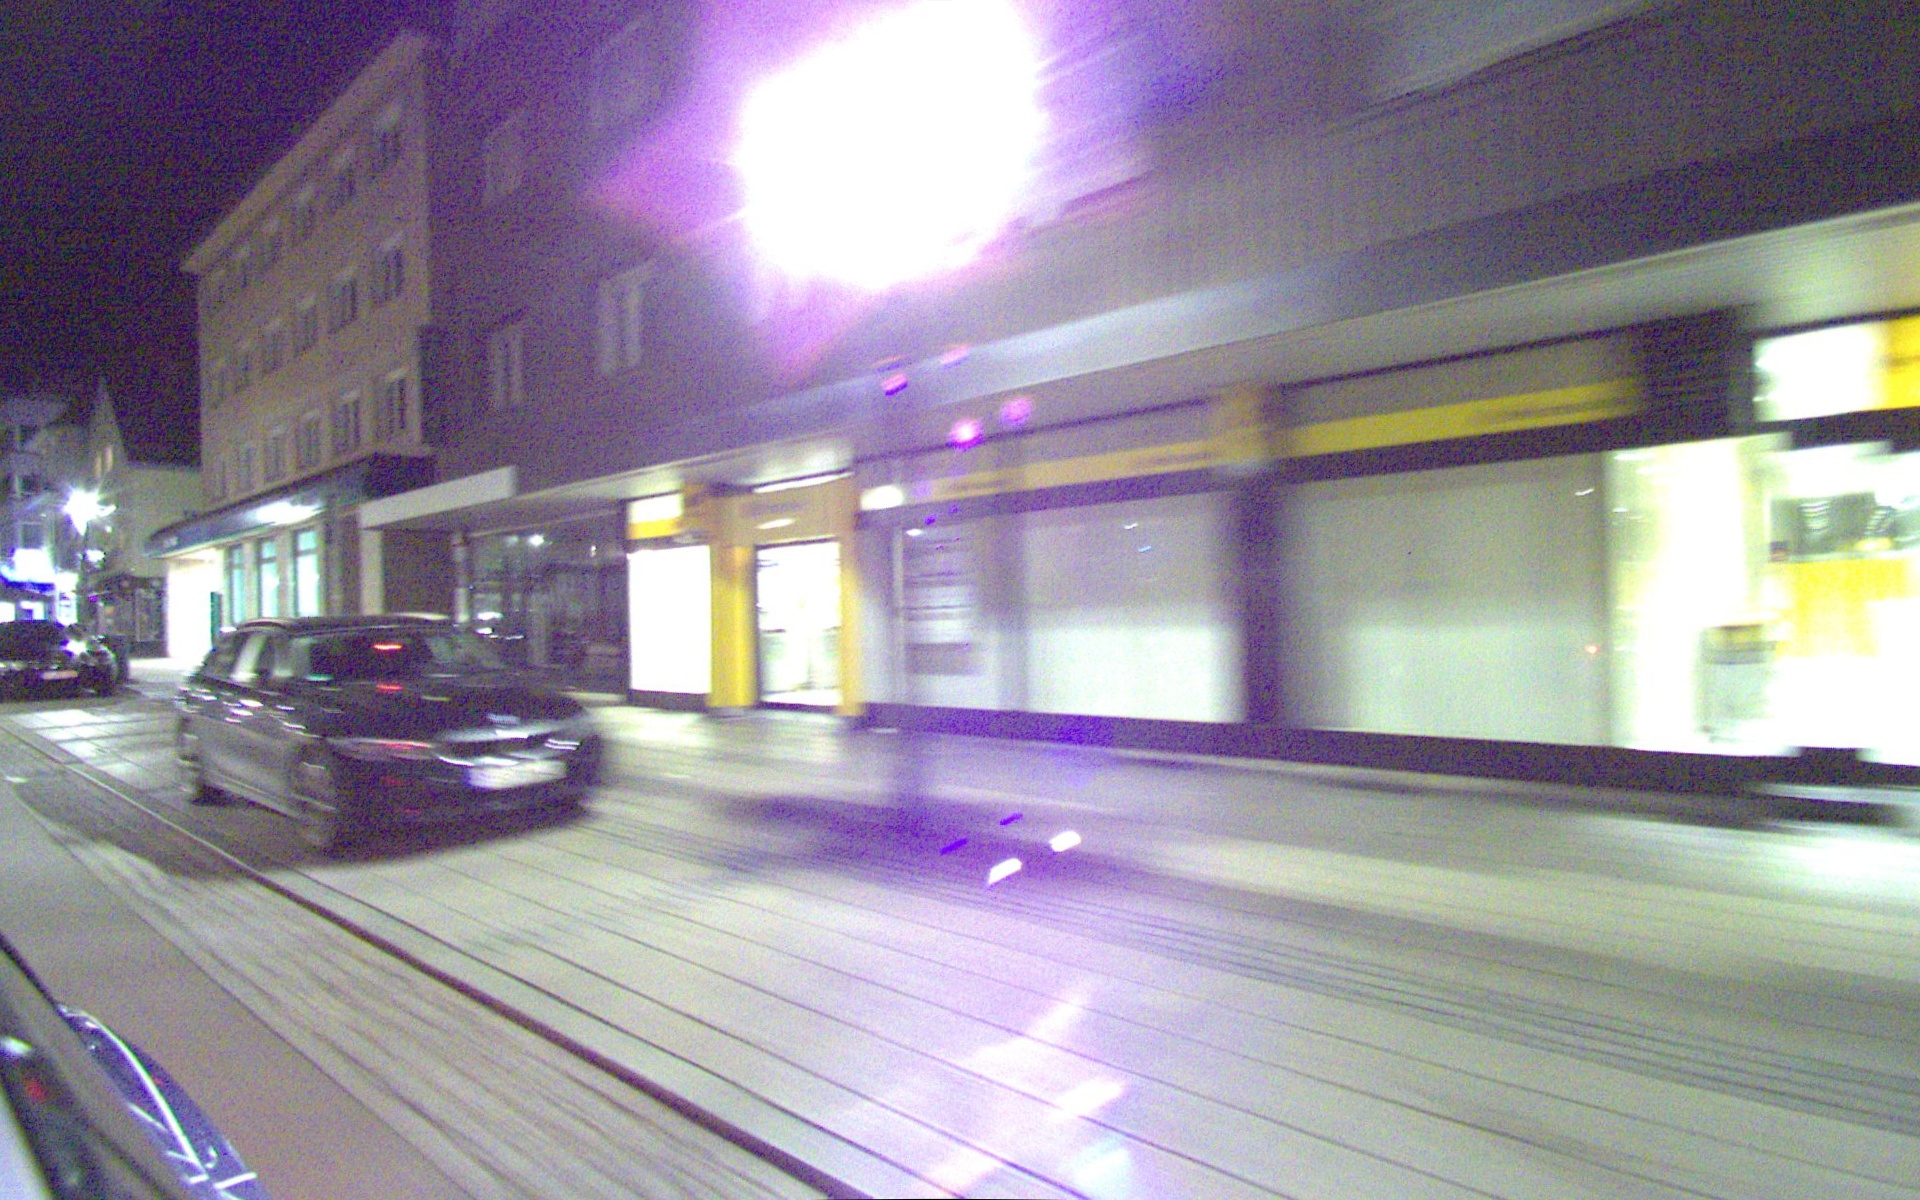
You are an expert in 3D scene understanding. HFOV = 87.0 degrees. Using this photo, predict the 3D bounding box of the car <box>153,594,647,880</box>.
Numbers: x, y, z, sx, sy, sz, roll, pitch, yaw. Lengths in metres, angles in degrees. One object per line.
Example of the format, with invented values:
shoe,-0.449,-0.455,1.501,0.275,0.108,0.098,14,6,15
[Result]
car,-4.331,0.763,7.508,4.318,1.489,1.779,-1,1,40

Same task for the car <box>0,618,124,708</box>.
car,-17.990,1.148,19.523,4.615,1.475,1.828,-1,1,37

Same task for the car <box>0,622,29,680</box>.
car,-26.917,1.369,27.388,4.519,1.481,1.881,-1,0,39
